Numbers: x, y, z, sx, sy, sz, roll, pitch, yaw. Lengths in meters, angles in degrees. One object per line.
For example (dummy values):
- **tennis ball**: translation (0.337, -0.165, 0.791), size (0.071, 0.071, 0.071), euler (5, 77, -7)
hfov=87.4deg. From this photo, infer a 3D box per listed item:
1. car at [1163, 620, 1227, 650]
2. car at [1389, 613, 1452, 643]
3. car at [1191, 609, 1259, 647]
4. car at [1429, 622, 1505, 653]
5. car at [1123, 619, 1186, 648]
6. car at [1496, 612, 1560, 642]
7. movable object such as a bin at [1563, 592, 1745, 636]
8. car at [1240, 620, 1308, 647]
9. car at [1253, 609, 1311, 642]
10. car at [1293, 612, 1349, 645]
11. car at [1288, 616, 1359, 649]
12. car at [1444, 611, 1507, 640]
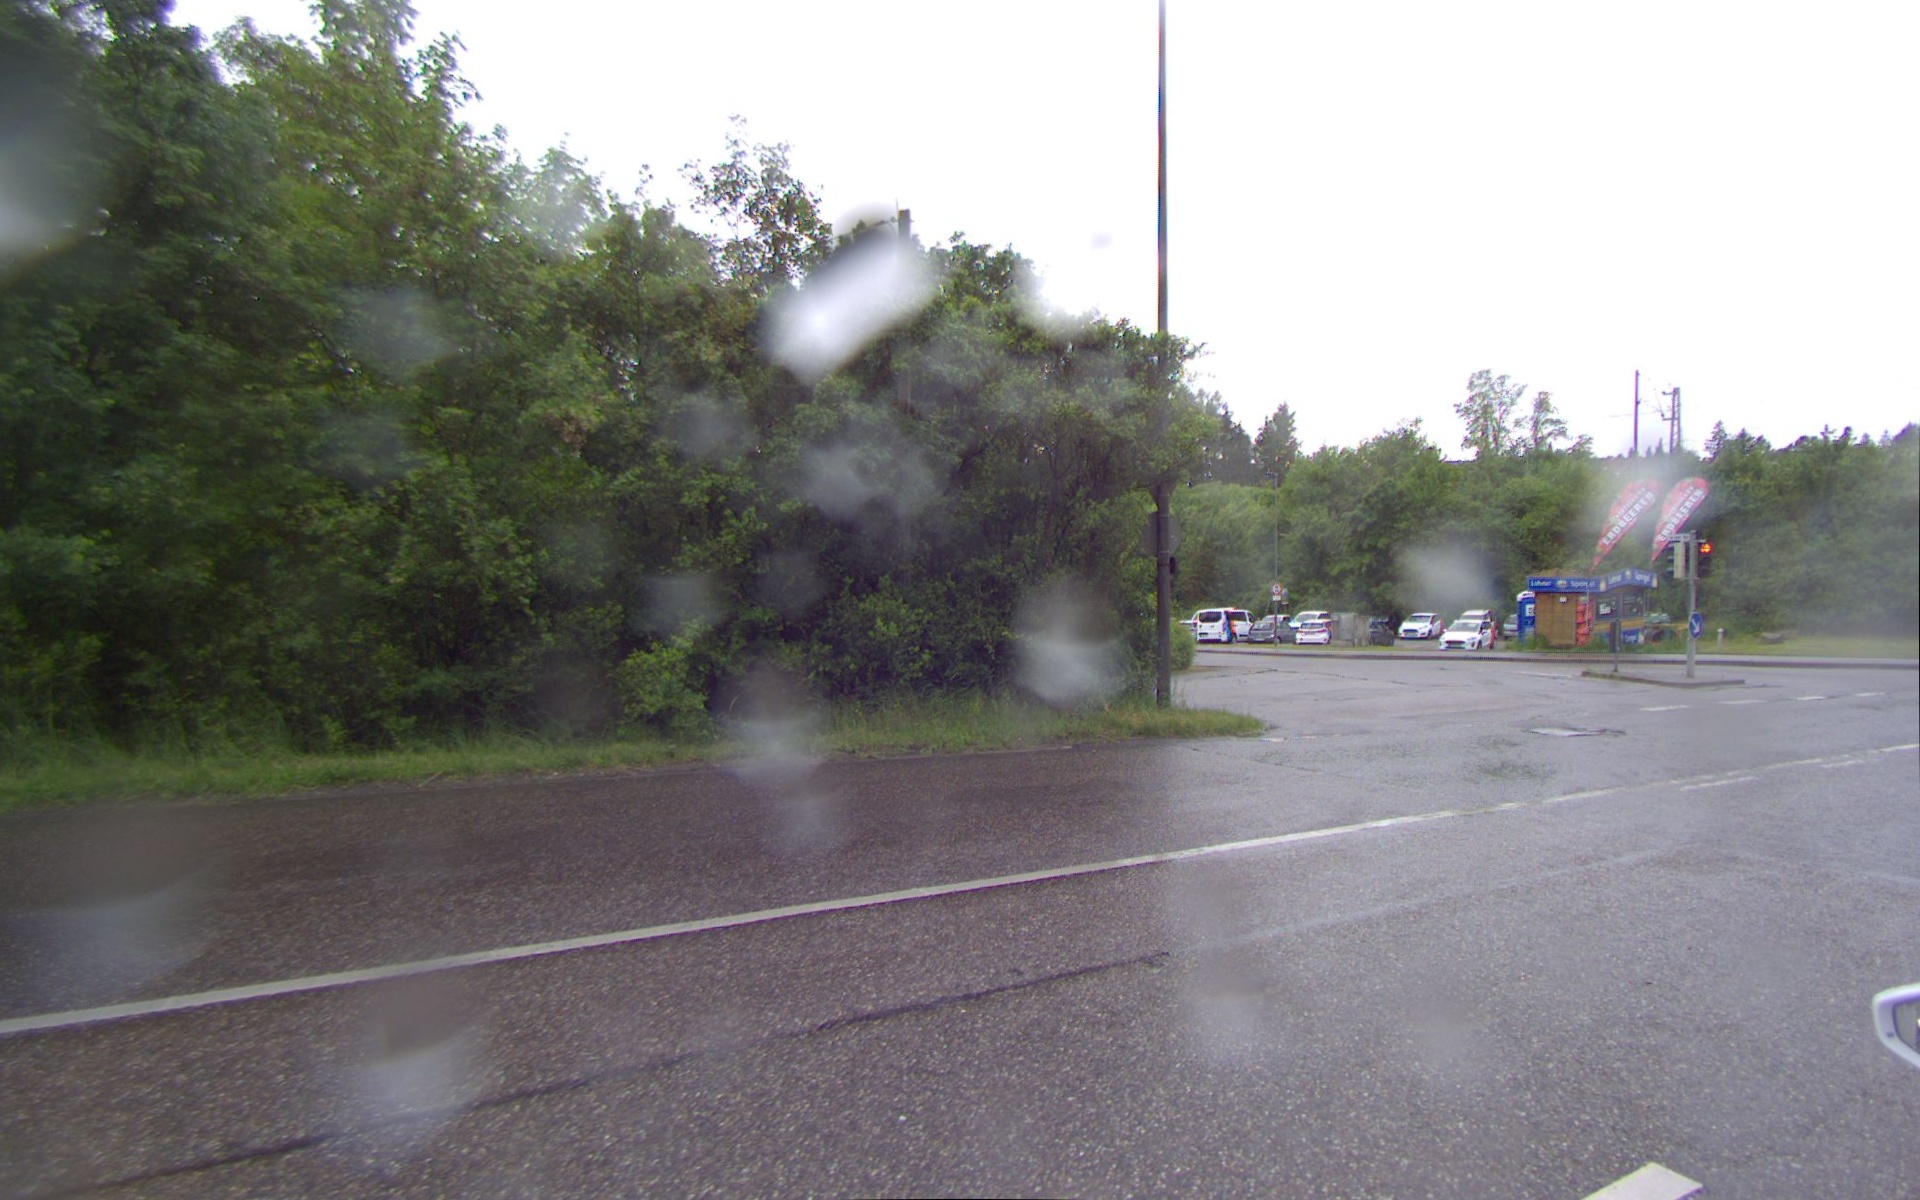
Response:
- **car**: translation (13.394, 1.993, 57.146), size (1.834, 1.606, 3.978), euler (1, -1, 42)
- **car**: translation (26.675, 1.630, 58.148), size (3.972, 1.606, 1.975), euler (3, -1, -43)
- **car**: translation (14.615, 1.547, 55.209), size (1.971, 1.974, 3.978), euler (1, -1, 42)
- **car**: translation (23.987, 1.792, 47.444), size (4.868, 1.358, 1.636), euler (3, -1, -43)
- **car**: translation (11.480, 1.983, 59.044), size (1.813, 1.606, 3.978), euler (1, -1, 42)
- **car**: translation (31.145, 1.475, 54.998), size (3.972, 1.606, 1.975), euler (1, -2, -43)
- **movable object such as a bin**: translation (29.202, 0.607, 42.491), size (5.663, 1.649, 2.753), euler (1, -1, 10)
- **car**: translation (16.877, 1.809, 53.959), size (3.972, 1.327, 1.734), euler (3, -1, -43)
- **car**: translation (21.052, 1.666, 65.602), size (3.973, 2.040, 1.974), euler (2, -2, -44)
- **car**: translation (22.922, 1.784, 63.720), size (1.916, 2.040, 3.846), euler (1, 0, 43)
- **car**: translation (18.912, 1.707, 52.235), size (3.880, 1.606, 1.918), euler (3, -1, -43)
- **car**: translation (28.851, 1.420, 56.182), size (3.972, 1.606, 1.975), euler (1, -2, -43)
